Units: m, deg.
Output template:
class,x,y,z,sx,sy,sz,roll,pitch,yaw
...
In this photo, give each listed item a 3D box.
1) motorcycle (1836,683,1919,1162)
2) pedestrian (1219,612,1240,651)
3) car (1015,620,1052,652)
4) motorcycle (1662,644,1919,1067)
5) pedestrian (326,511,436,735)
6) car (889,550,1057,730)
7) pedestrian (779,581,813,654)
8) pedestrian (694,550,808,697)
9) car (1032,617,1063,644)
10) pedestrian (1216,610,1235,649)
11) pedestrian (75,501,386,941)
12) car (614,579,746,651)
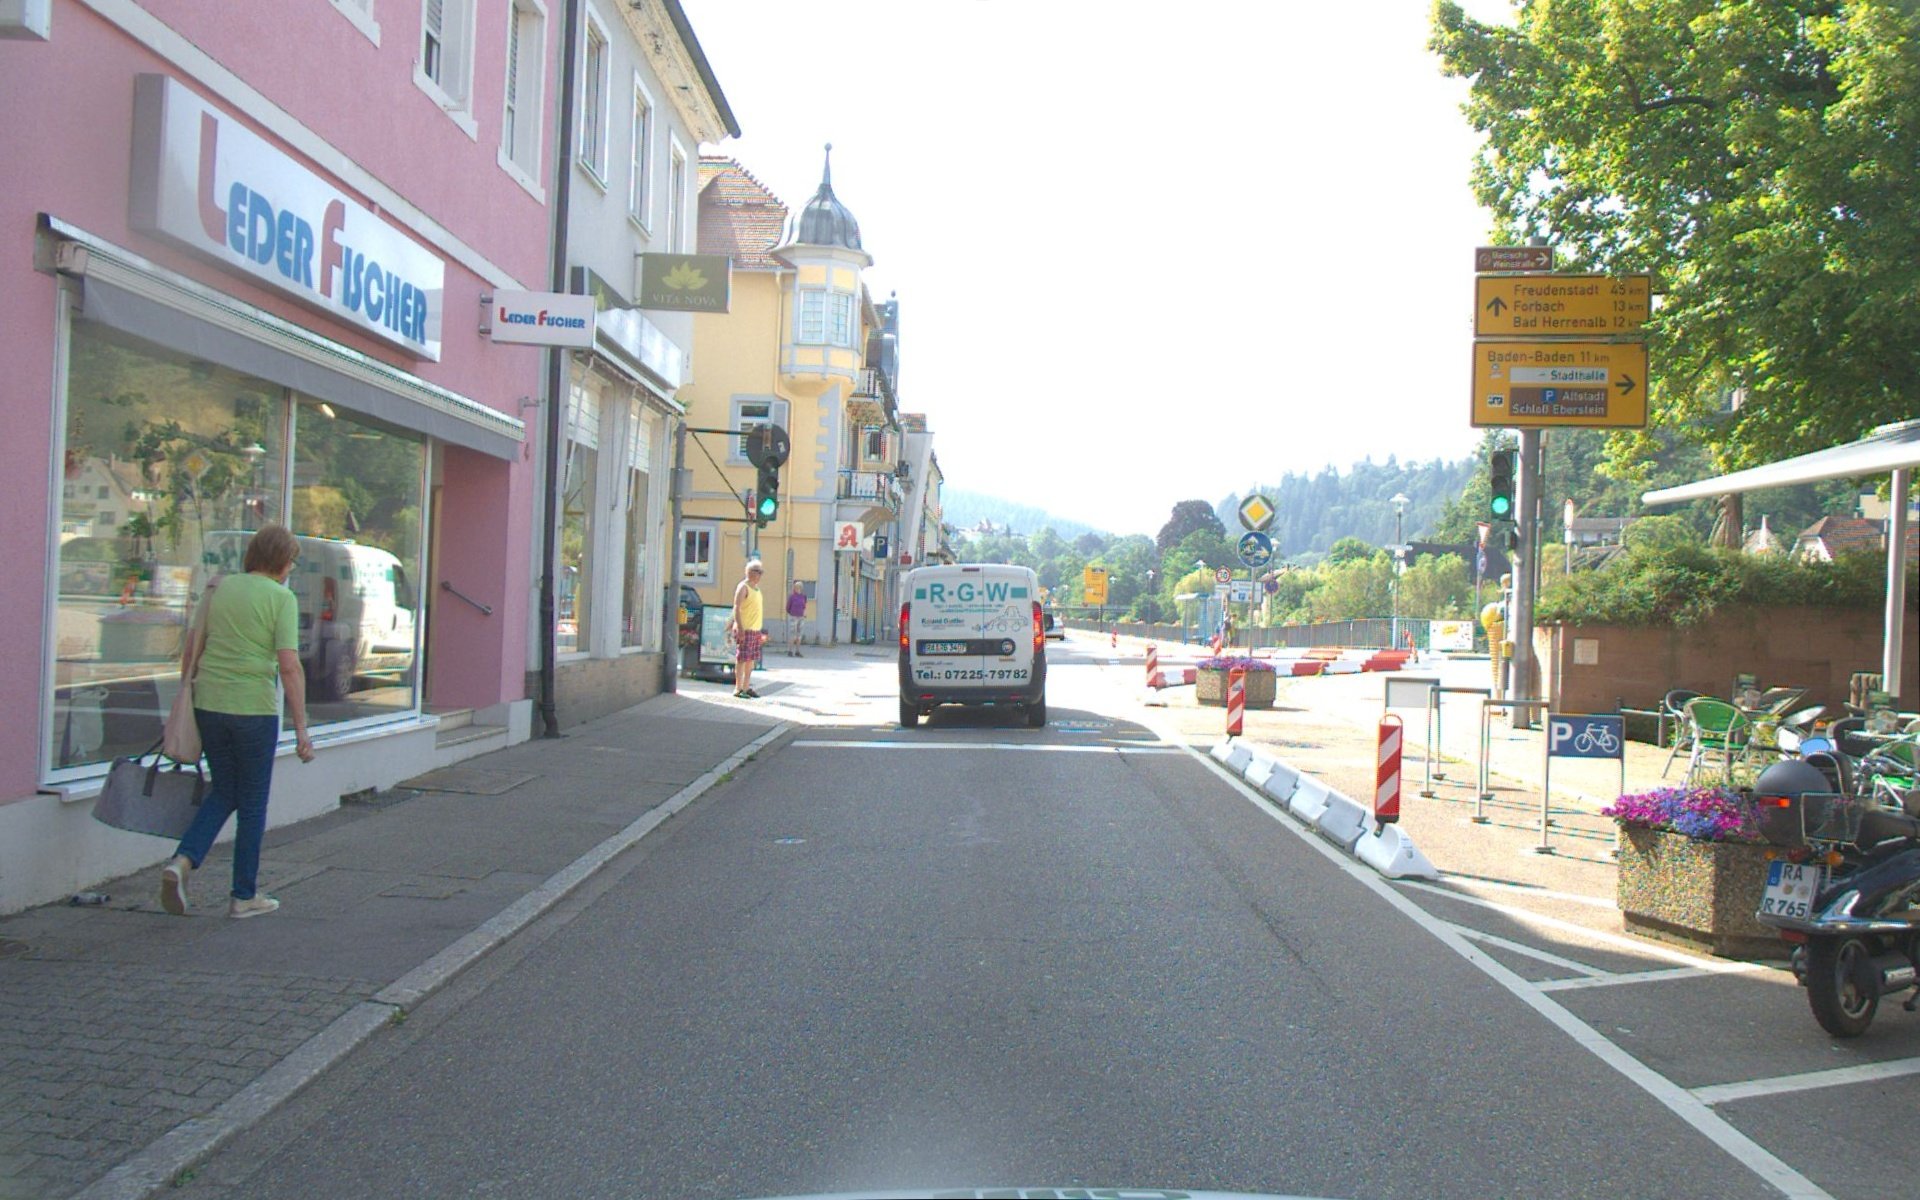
class,x,y,z,sx,sy,sz,roll,pitch,yaw
motorcycle,3.586,0.917,5.009,2.071,1.292,0.916,2,0,-40
pedestrian,12.253,1.438,75.196,0.848,1.736,0.777,2,-1,3
car,4.250,2.062,96.037,1.952,1.691,4.000,3,0,1
motorcycle,3.712,0.886,6.461,1.878,1.382,0.906,2,0,-35
pedestrian,-4.688,0.184,13.383,0.705,1.752,0.668,2,0,-28
car,0.226,0.438,20.703,1.806,1.939,4.316,2,0,2
pedestrian,-3.953,0.418,39.978,0.664,1.744,0.617,2,0,3
pedestrian,-2.819,0.321,22.357,1.000,1.846,0.905,6,-1,31
car,5.957,2.082,112.796,1.952,1.691,4.000,3,0,1
pedestrian,12.174,1.353,75.847,0.773,1.736,0.492,2,-1,3
pedestrian,-3.001,0.472,6.890,0.769,1.660,0.859,4,0,3
car,-7.173,0.363,42.136,1.899,1.569,3.916,3,1,-32
